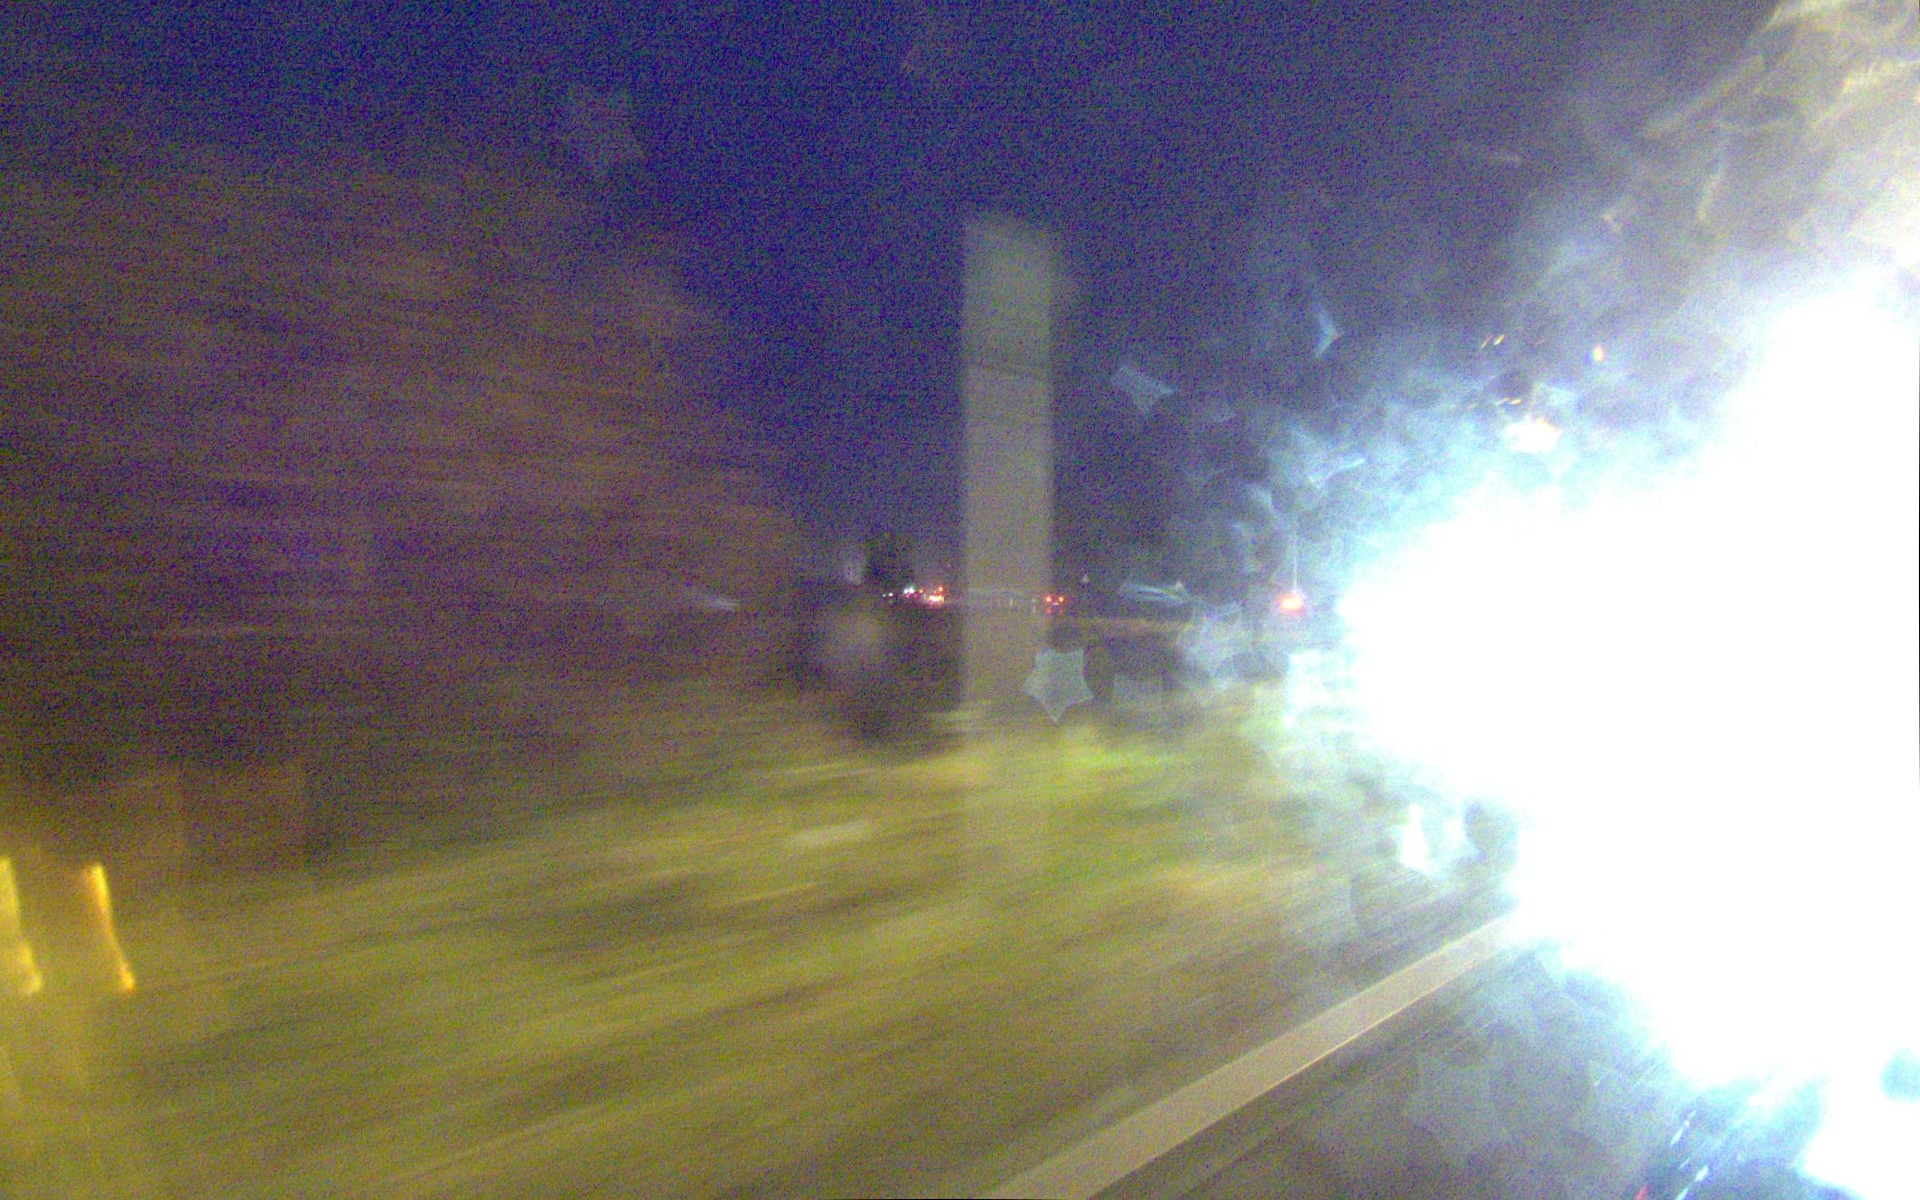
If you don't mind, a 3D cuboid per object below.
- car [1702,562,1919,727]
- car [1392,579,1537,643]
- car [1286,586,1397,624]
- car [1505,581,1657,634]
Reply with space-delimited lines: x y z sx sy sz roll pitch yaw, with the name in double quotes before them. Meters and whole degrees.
"car" 12.034 0.507 14.040 1.984 1.949 4.332 0 1 25
"car" 13.630 0.266 27.613 1.655 1.552 3.991 -2 0 -4
"car" 15.171 0.159 40.449 1.646 1.463 4.182 0 1 -26
"car" 21.472 0.221 35.149 1.812 1.727 4.133 0 1 -30
